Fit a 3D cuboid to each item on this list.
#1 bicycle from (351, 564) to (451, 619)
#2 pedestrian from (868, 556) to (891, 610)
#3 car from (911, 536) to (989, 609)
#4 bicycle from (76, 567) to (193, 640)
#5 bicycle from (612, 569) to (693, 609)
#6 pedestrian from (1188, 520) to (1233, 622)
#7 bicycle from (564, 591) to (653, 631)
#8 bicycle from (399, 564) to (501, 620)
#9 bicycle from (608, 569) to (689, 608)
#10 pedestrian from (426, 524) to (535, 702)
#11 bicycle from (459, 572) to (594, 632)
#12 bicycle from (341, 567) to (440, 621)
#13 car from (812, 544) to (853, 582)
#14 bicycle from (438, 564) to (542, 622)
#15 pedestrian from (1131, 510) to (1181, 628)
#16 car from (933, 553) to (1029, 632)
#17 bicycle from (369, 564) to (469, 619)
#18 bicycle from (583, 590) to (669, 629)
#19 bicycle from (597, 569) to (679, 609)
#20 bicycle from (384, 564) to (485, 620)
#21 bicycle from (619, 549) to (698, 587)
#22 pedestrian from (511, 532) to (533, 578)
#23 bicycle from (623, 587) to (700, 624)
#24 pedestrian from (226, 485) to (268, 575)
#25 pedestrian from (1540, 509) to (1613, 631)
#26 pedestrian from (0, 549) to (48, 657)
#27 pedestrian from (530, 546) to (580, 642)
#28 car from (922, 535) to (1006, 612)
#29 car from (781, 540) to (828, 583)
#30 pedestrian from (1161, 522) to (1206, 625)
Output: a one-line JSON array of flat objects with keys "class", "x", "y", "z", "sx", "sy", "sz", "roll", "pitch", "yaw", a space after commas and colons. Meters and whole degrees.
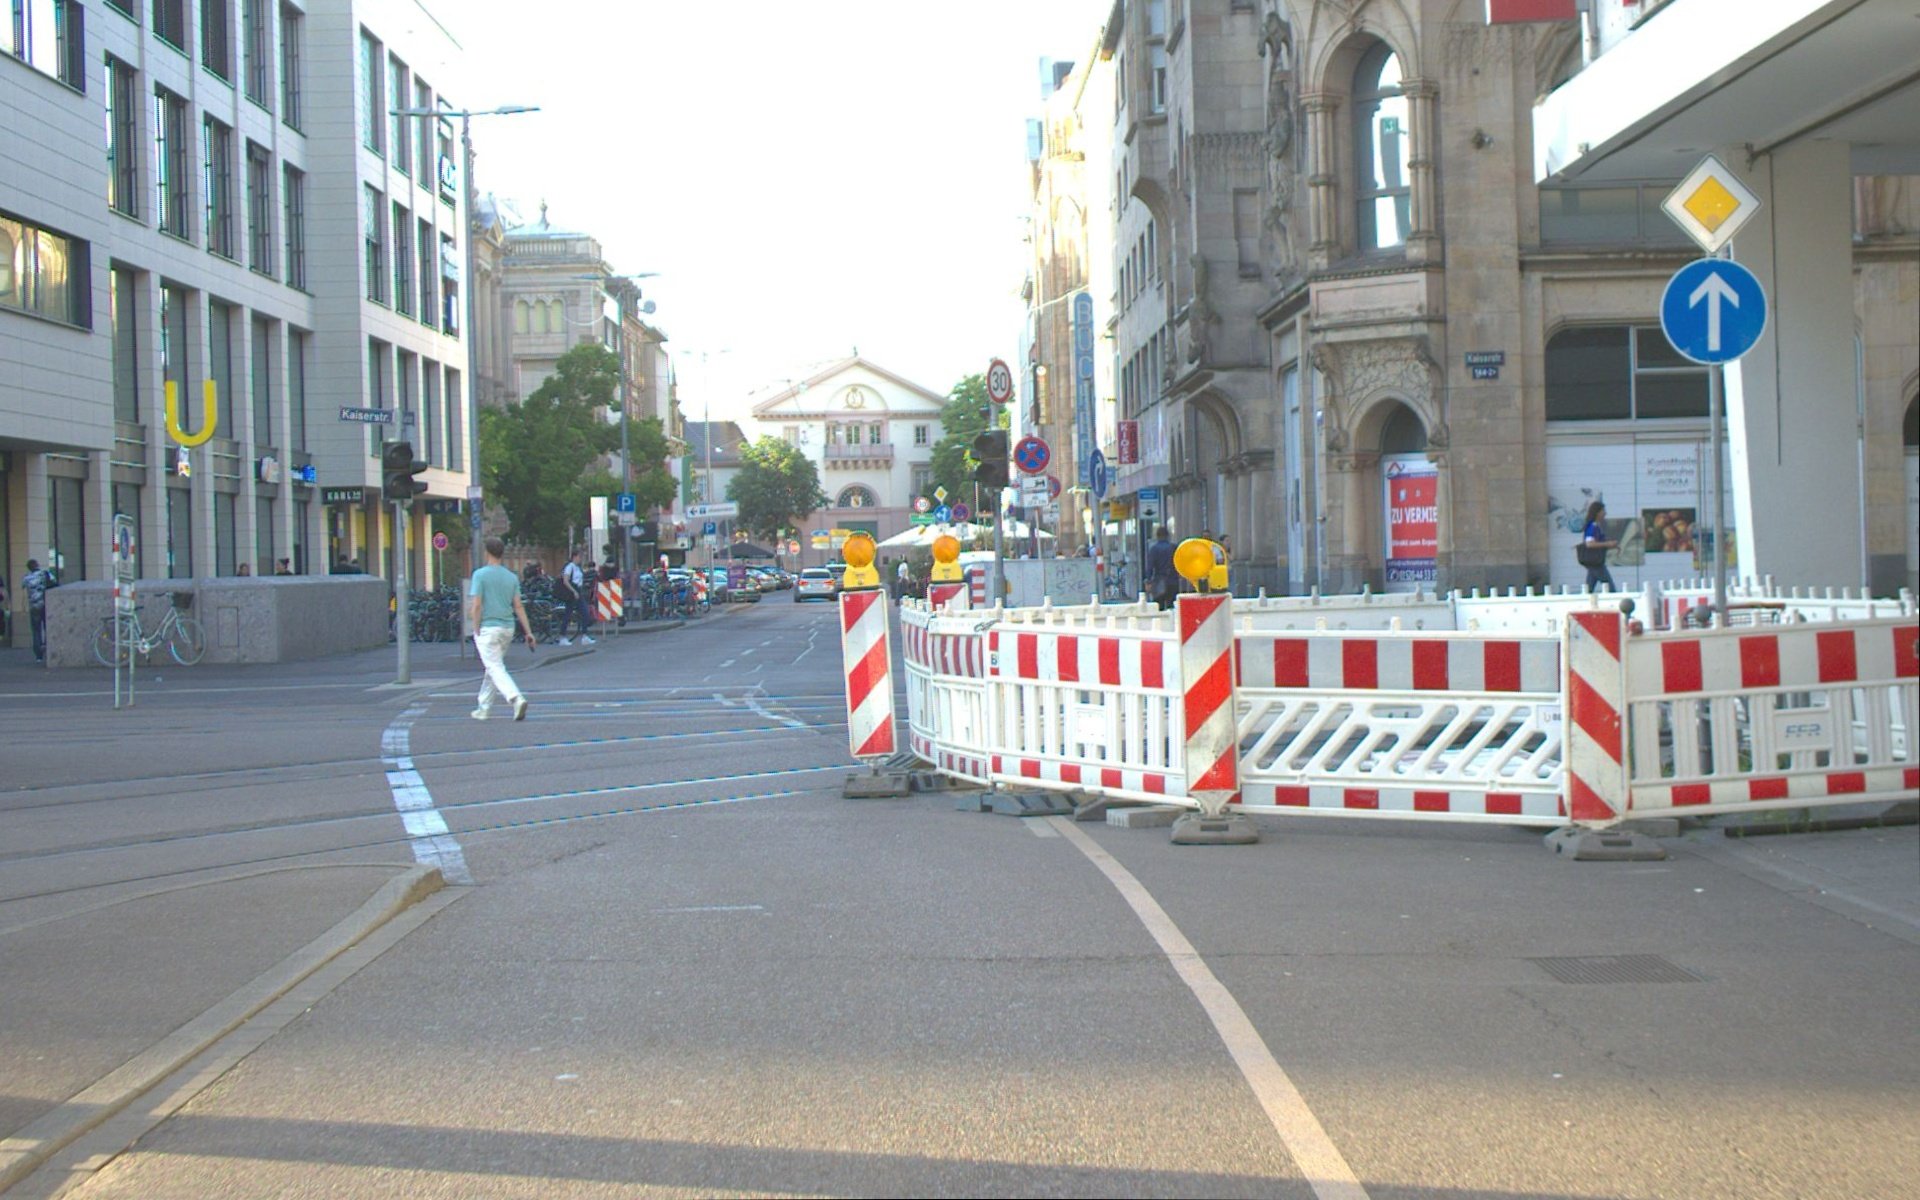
[{"class": "bicycle", "x": -11.620, "y": -0.184, "z": 71.471, "sx": 1.967, "sy": 1.118, "sz": 0.558, "roll": 0, "pitch": 1, "yaw": -29}, {"class": "pedestrian", "x": -2.714, "y": -0.570, "z": 115.605, "sx": 0.599, "sy": 1.817, "sz": 0.452, "roll": -2, "pitch": 1, "yaw": -27}, {"class": "car", "x": -0.247, "y": -0.652, "z": 80.574, "sx": 1.679, "sy": 1.608, "sz": 4.028, "roll": -3, "pitch": 1, "yaw": -1}, {"class": "bicycle", "x": -12.706, "y": 0.047, "z": 52.921, "sx": 1.696, "sy": 1.118, "sz": 0.451, "roll": 0, "pitch": 1, "yaw": 2}, {"class": "bicycle", "x": -8.505, "y": -0.309, "z": 95.192, "sx": 2.148, "sy": 1.026, "sz": 0.640, "roll": -1, "pitch": 1, "yaw": 1}, {"class": "pedestrian", "x": 4.190, "y": -0.483, "z": 57.519, "sx": 0.625, "sy": 1.684, "sz": 0.626, "roll": -2, "pitch": 1, "yaw": -3}, {"class": "bicycle", "x": -8.839, "y": 0.274, "z": 86.458, "sx": 2.148, "sy": 0.950, "sz": 0.640, "roll": -1, "pitch": 1, "yaw": 1}, {"class": "bicycle", "x": -10.327, "y": -0.161, "z": 69.609, "sx": 1.967, "sy": 1.118, "sz": 0.558, "roll": 0, "pitch": 1, "yaw": -29}, {"class": "bicycle", "x": -8.684, "y": -0.318, "z": 95.920, "sx": 2.148, "sy": 1.026, "sz": 0.640, "roll": -1, "pitch": 1, "yaw": 1}, {"class": "pedestrian", "x": -4.769, "y": 0.123, "z": 34.238, "sx": 0.866, "sy": 1.755, "sz": 0.767, "roll": 0, "pitch": 0, "yaw": 11}, {"class": "bicycle", "x": -9.807, "y": 0.034, "z": 77.859, "sx": 2.887, "sy": 1.251, "sz": 0.804, "roll": -2, "pitch": 1, "yaw": -26}, {"class": "bicycle", "x": -11.991, "y": -0.125, "z": 72.416, "sx": 1.967, "sy": 1.118, "sz": 0.558, "roll": 0, "pitch": 1, "yaw": -29}, {"class": "car", "x": -6.540, "y": -1.897, "z": 176.576, "sx": 1.993, "sy": 1.897, "sz": 4.000, "roll": 0, "pitch": 1, "yaw": -1}, {"class": "bicycle", "x": -9.297, "y": -0.142, "z": 68.046, "sx": 1.967, "sy": 1.118, "sz": 0.558, "roll": 0, "pitch": 1, "yaw": -29}, {"class": "pedestrian", "x": 2.865, "y": -0.455, "z": 50.270, "sx": 0.625, "sy": 1.684, "sz": 0.671, "roll": -2, "pitch": 1, "yaw": -3}, {"class": "car", "x": 0.360, "y": -0.159, "z": 63.893, "sx": 1.679, "sy": 1.419, "sz": 3.673, "roll": 0, "pitch": 1, "yaw": -1}, {"class": "bicycle", "x": -11.153, "y": -0.176, "z": 70.871, "sx": 1.967, "sy": 1.118, "sz": 0.558, "roll": 0, "pitch": 1, "yaw": -29}, {"class": "bicycle", "x": -8.693, "y": 0.234, "z": 89.571, "sx": 2.148, "sy": 0.950, "sz": 0.640, "roll": -1, "pitch": 1, "yaw": 1}, {"class": "bicycle", "x": -8.838, "y": -0.298, "z": 94.398, "sx": 2.148, "sy": 1.026, "sz": 0.640, "roll": -1, "pitch": 1, "yaw": 1}, {"class": "bicycle", "x": -10.743, "y": -0.169, "z": 70.246, "sx": 1.967, "sy": 1.118, "sz": 0.558, "roll": 0, "pitch": 1, "yaw": -29}, {"class": "bicycle", "x": -8.587, "y": -0.904, "z": 97.969, "sx": 2.148, "sy": 1.026, "sz": 0.640, "roll": -1, "pitch": 1, "yaw": 1}, {"class": "pedestrian", "x": -15.687, "y": -1.604, "z": 123.103, "sx": 0.679, "sy": 1.615, "sz": 0.573, "roll": -2, "pitch": 1, "yaw": -1}, {"class": "bicycle", "x": -8.675, "y": 0.156, "z": 99.844, "sx": 2.148, "sy": 1.026, "sz": 0.640, "roll": -1, "pitch": 1, "yaw": 1}, {"class": "pedestrian", "x": -13.342, "y": -1.313, "z": 64.330, "sx": 0.680, "sy": 1.675, "sz": 0.600, "roll": 0, "pitch": 1, "yaw": -3}, {"class": "pedestrian", "x": 8.178, "y": -0.403, "z": 45.635, "sx": 0.819, "sy": 1.605, "sz": 0.713, "roll": 0, "pitch": 1, "yaw": -1}, {"class": "pedestrian", "x": -15.298, "y": 0.048, "z": 55.943, "sx": 0.782, "sy": 1.745, "sz": 0.600, "roll": 0, "pitch": 1, "yaw": -3}, {"class": "pedestrian", "x": -7.350, "y": -0.111, "z": 62.414, "sx": 0.834, "sy": 1.715, "sz": 0.682, "roll": -2, "pitch": 1, "yaw": -8}, {"class": "car", "x": 0.058, "y": -0.587, "z": 74.489, "sx": 1.679, "sy": 1.542, "sz": 3.673, "roll": -3, "pitch": 1, "yaw": -1}, {"class": "car", "x": -6.936, "y": -1.722, "z": 153.542, "sx": 1.993, "sy": 1.897, "sz": 4.000, "roll": 0, "pitch": 1, "yaw": -1}, {"class": "pedestrian", "x": 3.686, "y": -0.438, "z": 56.802, "sx": 0.625, "sy": 1.684, "sz": 0.671, "roll": -2, "pitch": 1, "yaw": -3}]
